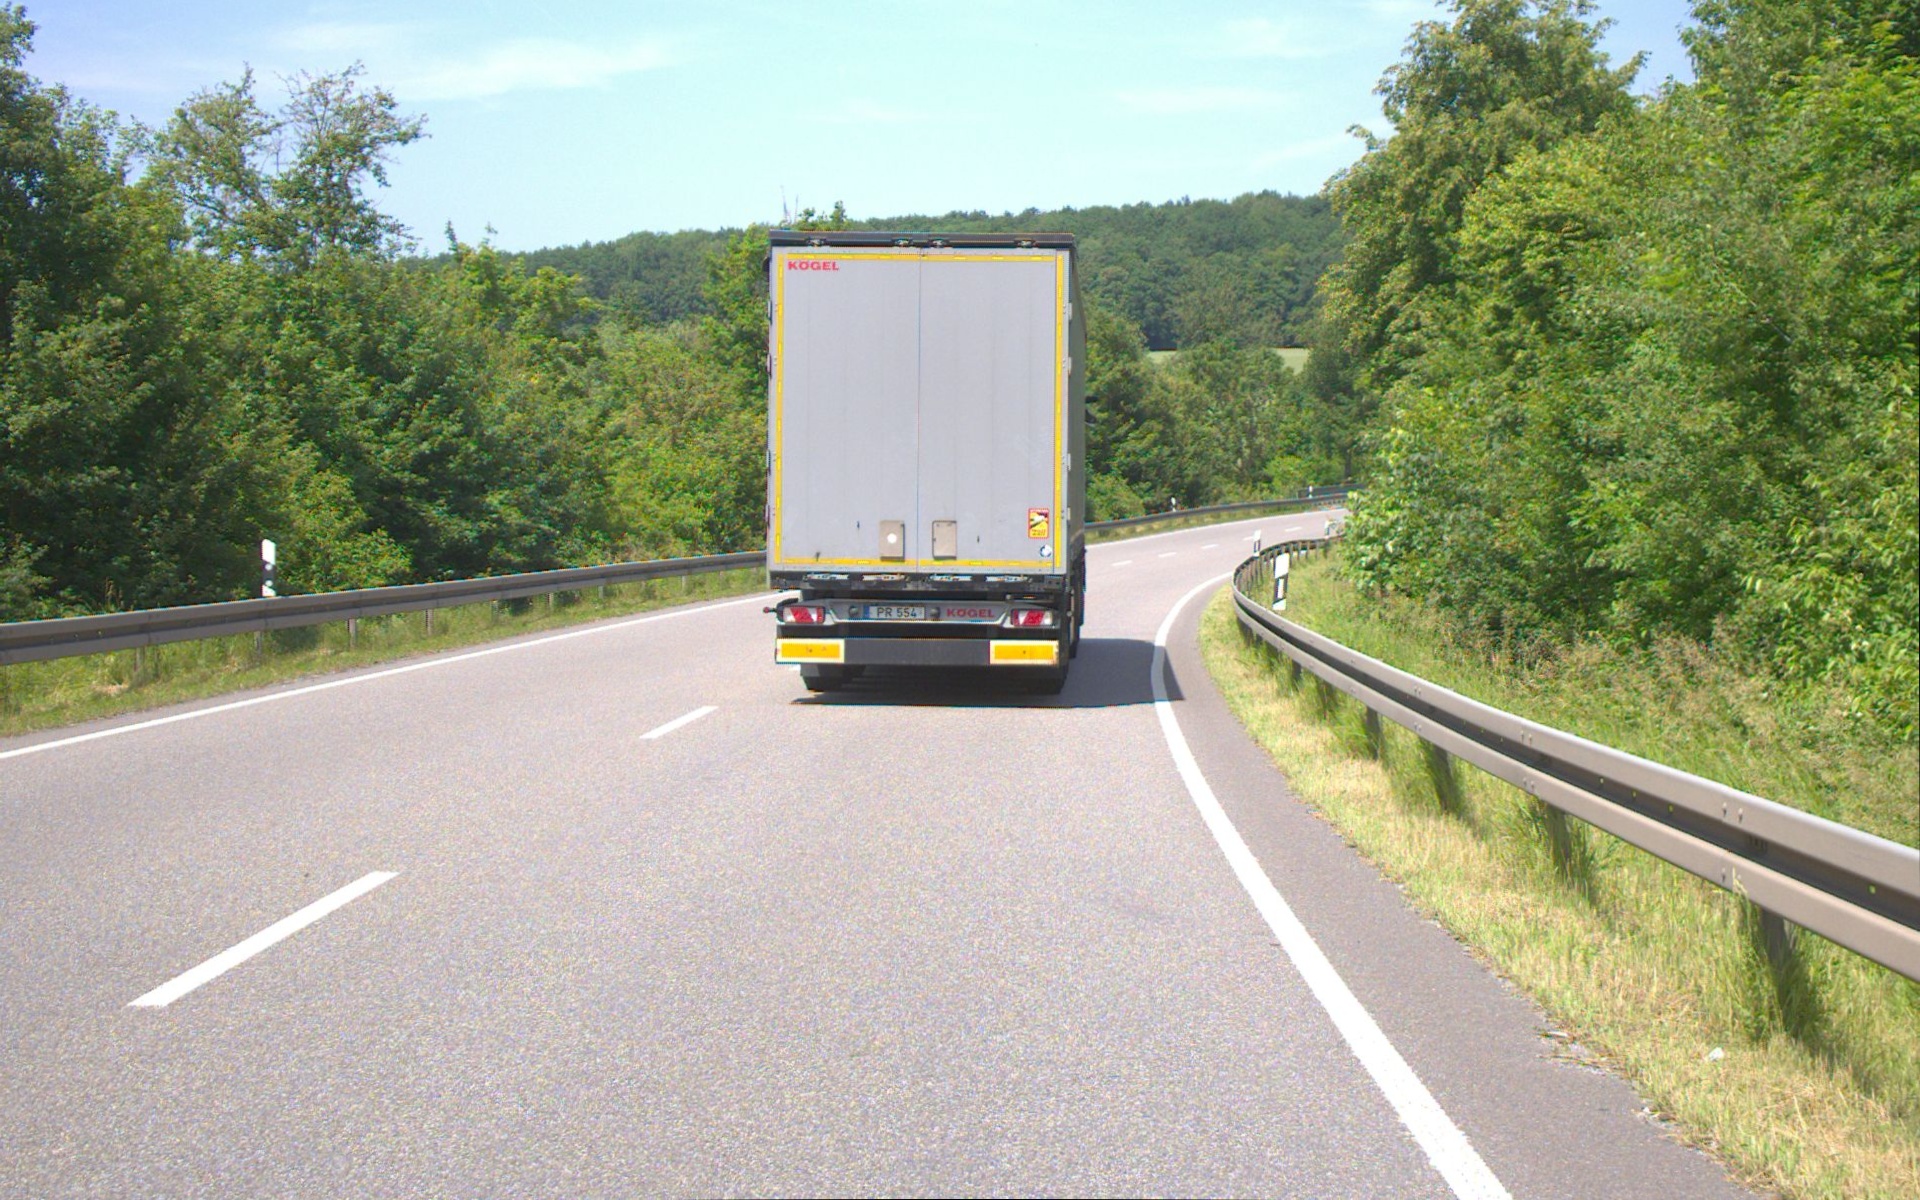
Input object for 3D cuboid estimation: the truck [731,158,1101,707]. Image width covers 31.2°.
[{"bbox_3d":[-0.132,-1.516,34.339,2.818,4.517,11.767,1,1,3],"label":"truck"}]
